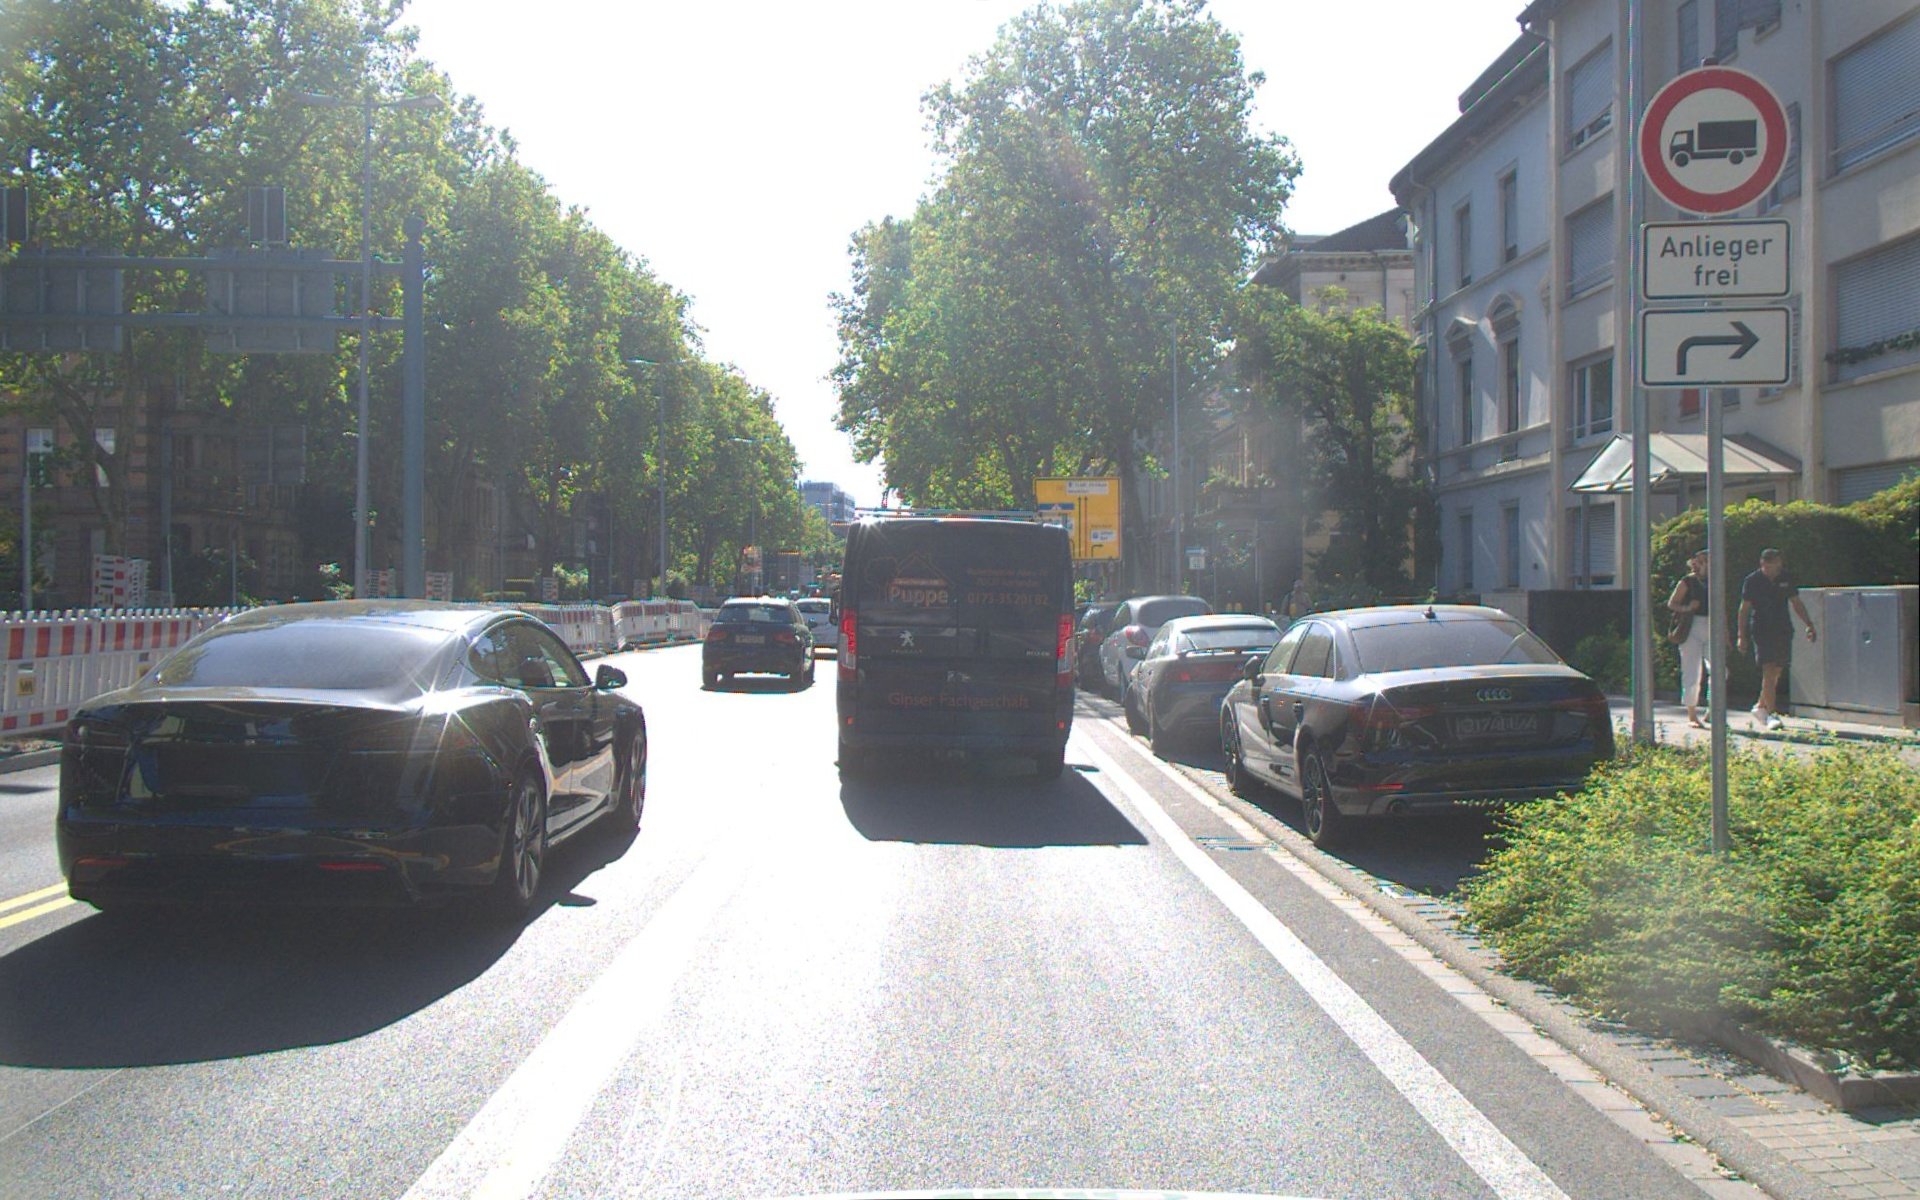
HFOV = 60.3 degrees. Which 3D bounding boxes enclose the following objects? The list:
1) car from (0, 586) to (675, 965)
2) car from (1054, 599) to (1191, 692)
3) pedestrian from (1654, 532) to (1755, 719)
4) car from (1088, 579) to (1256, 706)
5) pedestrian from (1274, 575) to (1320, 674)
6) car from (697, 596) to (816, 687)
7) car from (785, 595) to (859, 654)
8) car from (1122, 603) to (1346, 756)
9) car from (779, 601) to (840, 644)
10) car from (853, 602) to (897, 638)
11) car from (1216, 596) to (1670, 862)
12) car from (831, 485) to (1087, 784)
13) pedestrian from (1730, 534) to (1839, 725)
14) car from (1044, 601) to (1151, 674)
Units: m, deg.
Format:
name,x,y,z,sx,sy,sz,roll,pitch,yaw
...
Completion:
name,x,y,z,sx,sy,sz,roll,pitch,yaw
car,-2.875,0.680,8.869,1.886,1.436,4.625,2,0,-1
car,2.716,0.732,28.435,1.807,1.433,3.798,-1,0,-2
pedestrian,7.313,0.248,16.272,0.661,1.786,0.876,-1,0,8
car,3.047,0.584,24.496,1.807,1.672,3.798,-2,0,-2
pedestrian,7.152,0.511,35.183,0.781,2.049,1.168,-1,0,3
car,-3.425,0.661,28.440,1.711,1.432,3.998,1,0,-3
car,-3.493,0.605,42.273,1.515,1.450,3.555,0,0,1
car,2.799,0.766,17.703,1.806,1.433,3.801,-1,0,1
car,-5.796,0.852,64.103,1.953,1.495,4.000,1,1,0
car,-3.036,0.704,59.392,1.392,1.246,3.438,0,0,0
car,3.063,0.726,11.538,1.807,1.467,4.486,-1,0,-1
car,-0.072,0.263,15.349,2.053,2.396,3.931,1,1,-2
pedestrian,7.986,0.276,16.058,0.640,1.786,1.014,-1,0,8
car,2.859,0.751,35.170,1.807,1.436,3.798,-1,0,-2
